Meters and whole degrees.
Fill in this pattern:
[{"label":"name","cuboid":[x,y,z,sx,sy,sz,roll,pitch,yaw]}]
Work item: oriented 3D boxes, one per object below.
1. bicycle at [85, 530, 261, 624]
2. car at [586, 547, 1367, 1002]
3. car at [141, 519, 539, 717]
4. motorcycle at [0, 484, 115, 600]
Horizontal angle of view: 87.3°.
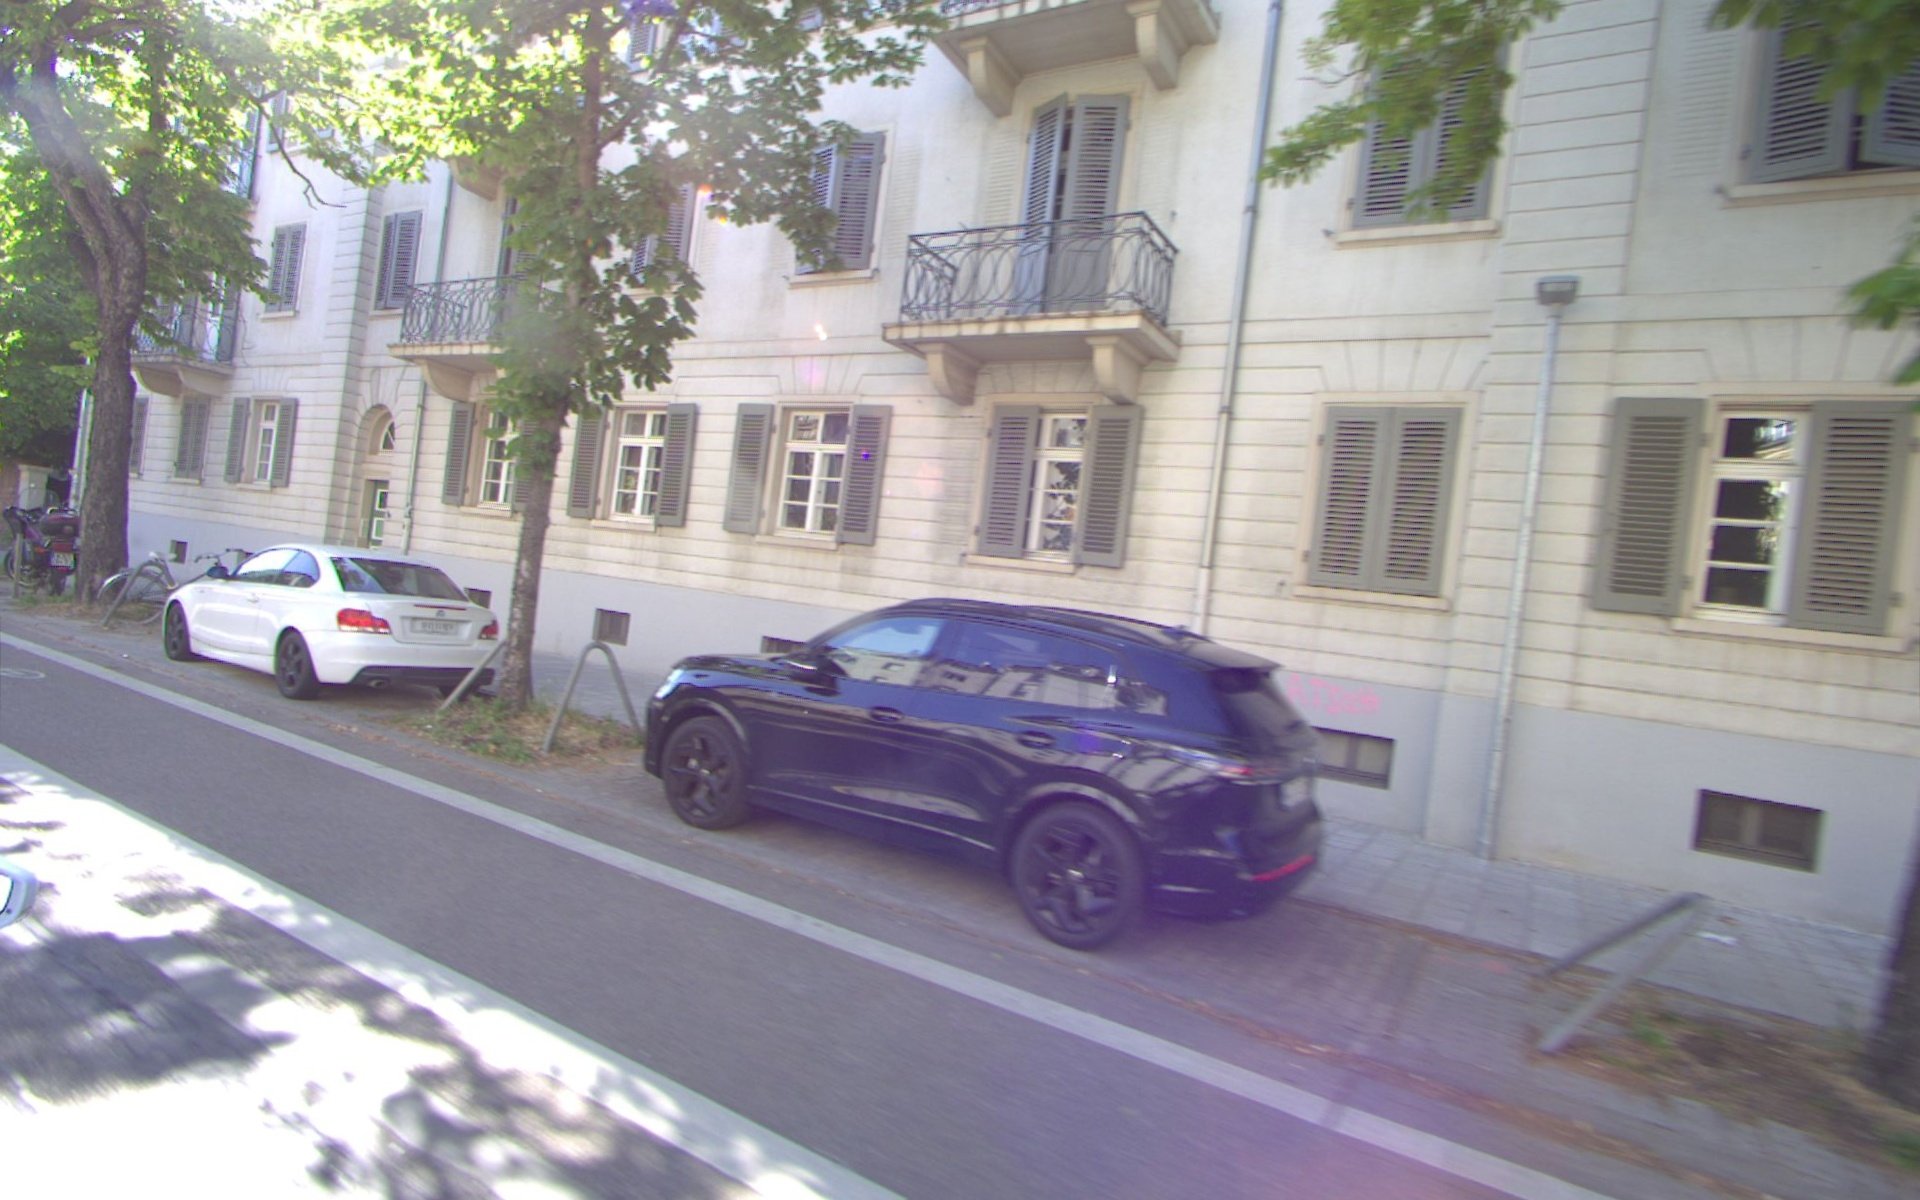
[{"label":"bicycle","cuboid":[-10.207,-0.275,13.108,0.674,1.056,1.621,7,1,32]},{"label":"car","cuboid":[-0.077,0.742,6.333,4.508,1.647,1.811,7,2,32]},{"label":"car","cuboid":[-6.428,0.109,10.281,4.284,1.399,1.724,7,1,33]},{"label":"motorcycle","cuboid":[-13.757,-0.902,15.036,2.635,1.508,0.914,7,2,33]}]
